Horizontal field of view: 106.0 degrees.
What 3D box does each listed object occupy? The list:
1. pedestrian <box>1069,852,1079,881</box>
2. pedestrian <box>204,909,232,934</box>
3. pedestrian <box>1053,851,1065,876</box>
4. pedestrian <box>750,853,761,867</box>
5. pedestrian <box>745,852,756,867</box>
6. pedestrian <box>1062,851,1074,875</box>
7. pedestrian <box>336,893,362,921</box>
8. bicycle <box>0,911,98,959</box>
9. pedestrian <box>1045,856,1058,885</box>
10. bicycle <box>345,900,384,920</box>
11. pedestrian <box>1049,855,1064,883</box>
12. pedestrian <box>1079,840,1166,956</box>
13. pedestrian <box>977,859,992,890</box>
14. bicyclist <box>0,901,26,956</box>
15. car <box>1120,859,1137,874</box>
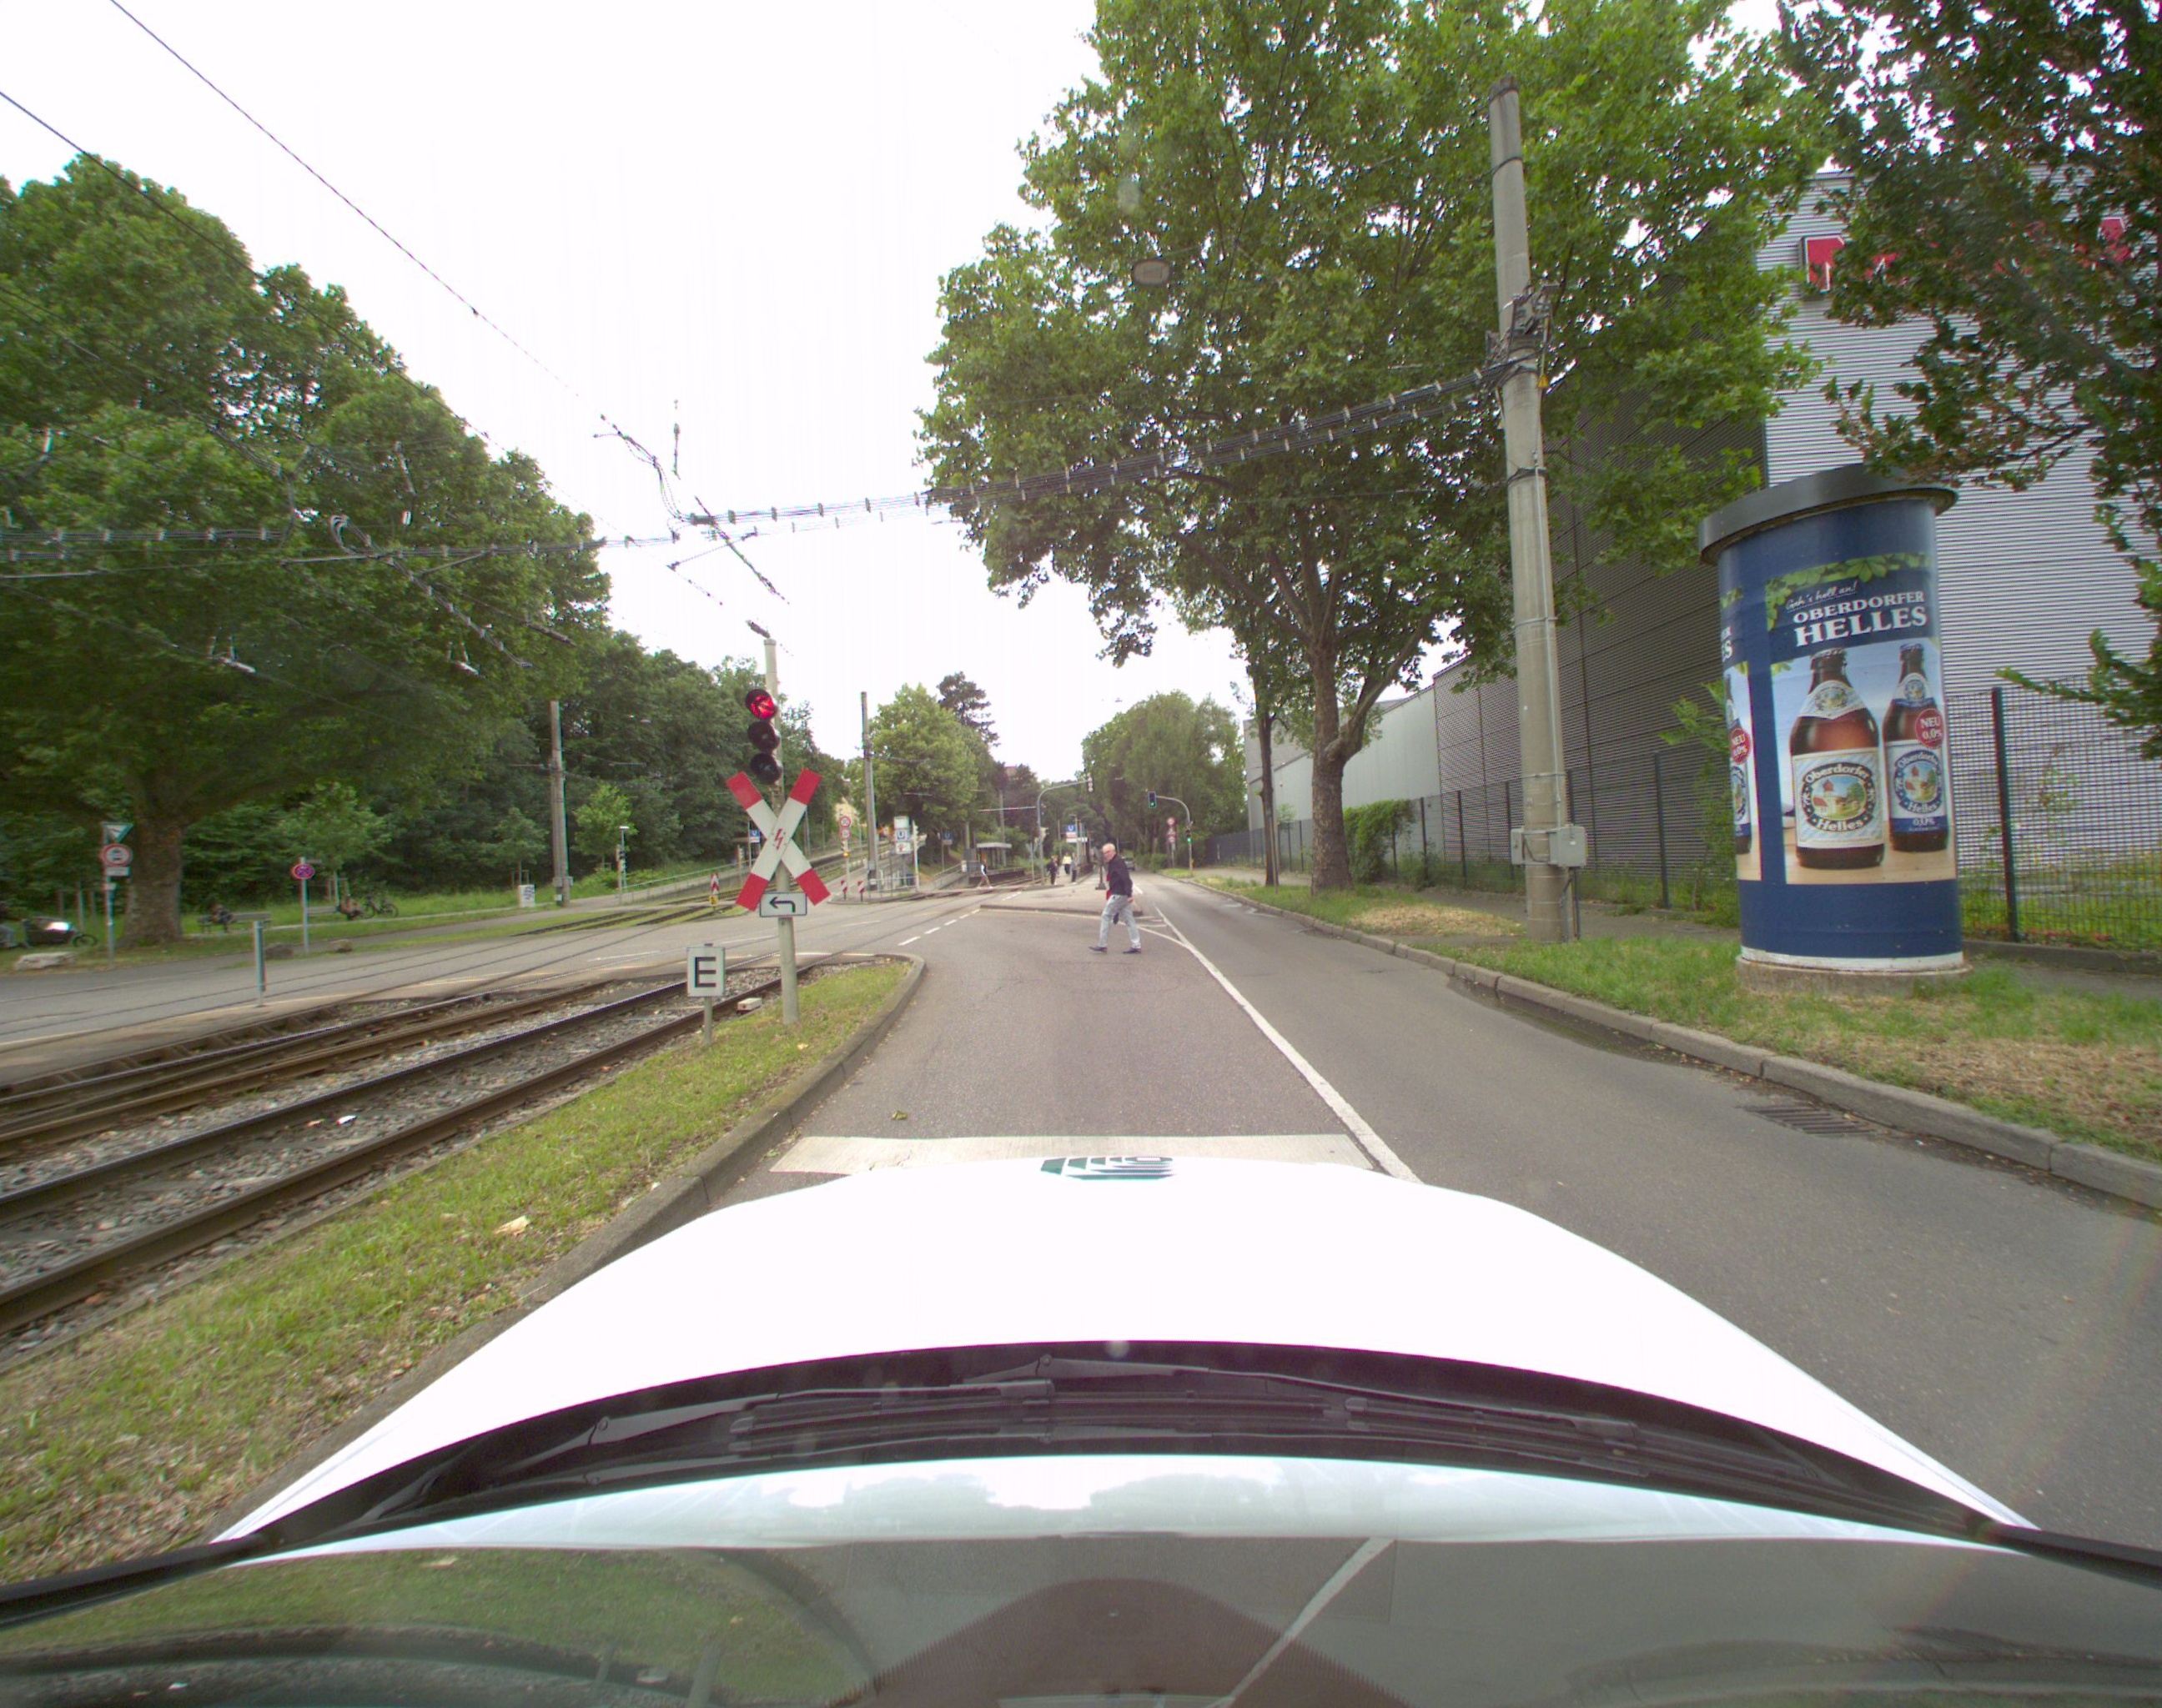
[{"bbox_3d":[-0.450,0.774,50.963,0.547,1.758,0.739,0,-1,6],"label":"pedestrian"},{"bbox_3d":[-35.281,2.756,33.291,0.526,0.989,0.623,-1,-1,17],"label":"pedestrian"},{"bbox_3d":[-1.530,0.649,55.778,0.735,1.665,0.679,0,-1,-9],"label":"pedestrian"},{"bbox_3d":[-30.788,0.544,76.948,0.771,1.326,0.785,0,-1,-6],"label":"pedestrian"},{"bbox_3d":[-30.767,0.535,75.767,0.771,1.326,0.785,0,2,-6],"label":"pedestrian"},{"bbox_3d":[-0.904,0.620,56.528,0.735,1.665,0.679,0,-1,-9],"label":"pedestrian"},{"bbox_3d":[-33.484,2.437,37.238,0.574,1.235,0.676,-1,-1,15],"label":"pedestrian"},{"bbox_3d":[-35.470,2.753,27.135,0.726,1.289,3.368,3,4,42],"label":"bicycle"},{"bbox_3d":[-1.708,0.950,47.258,0.732,1.665,0.682,0,-1,3],"label":"pedestrian"},{"bbox_3d":[-33.664,2.605,38.261,1.726,0.885,0.625,-1,-1,21],"label":"bicycle"},{"bbox_3d":[-1.501,0.926,50.004,0.674,1.665,0.741,-1,-1,17],"label":"pedestrian"},{"bbox_3d":[0.666,0.664,13.030,1.126,1.760,0.804,0,-1,-36],"label":"pedestrian"},{"bbox_3d":[-5.695,1.194,47.920,0.801,1.821,0.670,0,-1,-3],"label":"pedestrian"},{"bbox_3d":[-35.803,2.494,26.738,0.726,1.711,1.301,2,4,42],"label":"bicyclist"},{"bbox_3d":[5.465,1.456,94.037,1.737,1.599,4.001,0,-1,2],"label":"car"}]
